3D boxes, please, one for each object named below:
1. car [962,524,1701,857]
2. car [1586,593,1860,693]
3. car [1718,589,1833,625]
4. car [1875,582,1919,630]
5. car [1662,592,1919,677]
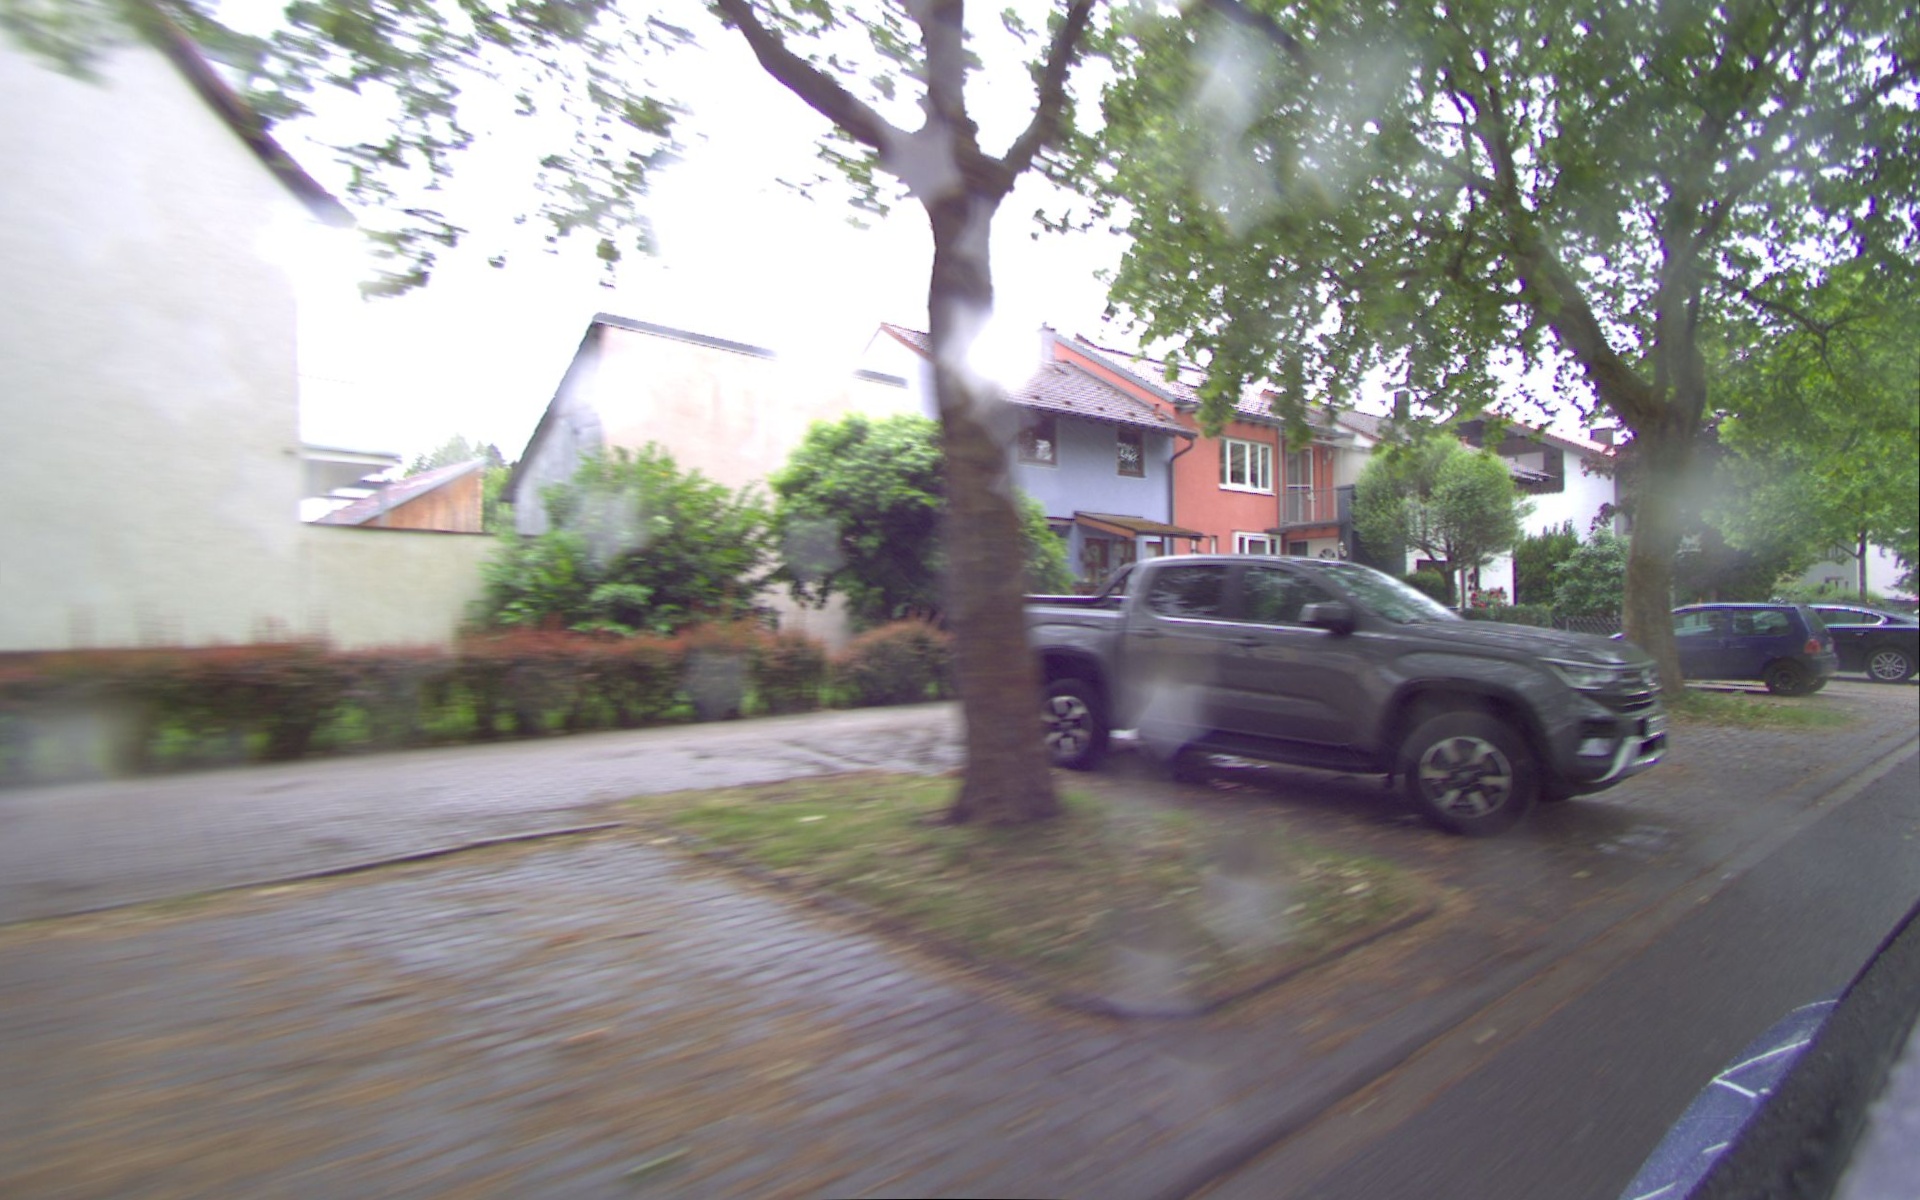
[{"bbox_3d":[2.516,0.479,8.122,1.815,1.829,5.341,0,0,-44],"label":"car"},{"bbox_3d":[12.556,0.640,16.795,1.589,1.482,3.363,0,0,-39],"label":"car"},{"bbox_3d":[37.961,0.307,47.168,1.808,1.633,3.855,0,0,-36],"label":"car"},{"bbox_3d":[34.854,0.213,34.906,1.941,1.682,4.698,0,0,-40],"label":"car"},{"bbox_3d":[16.708,0.615,19.659,1.904,1.491,4.772,0,0,-42],"label":"car"}]
